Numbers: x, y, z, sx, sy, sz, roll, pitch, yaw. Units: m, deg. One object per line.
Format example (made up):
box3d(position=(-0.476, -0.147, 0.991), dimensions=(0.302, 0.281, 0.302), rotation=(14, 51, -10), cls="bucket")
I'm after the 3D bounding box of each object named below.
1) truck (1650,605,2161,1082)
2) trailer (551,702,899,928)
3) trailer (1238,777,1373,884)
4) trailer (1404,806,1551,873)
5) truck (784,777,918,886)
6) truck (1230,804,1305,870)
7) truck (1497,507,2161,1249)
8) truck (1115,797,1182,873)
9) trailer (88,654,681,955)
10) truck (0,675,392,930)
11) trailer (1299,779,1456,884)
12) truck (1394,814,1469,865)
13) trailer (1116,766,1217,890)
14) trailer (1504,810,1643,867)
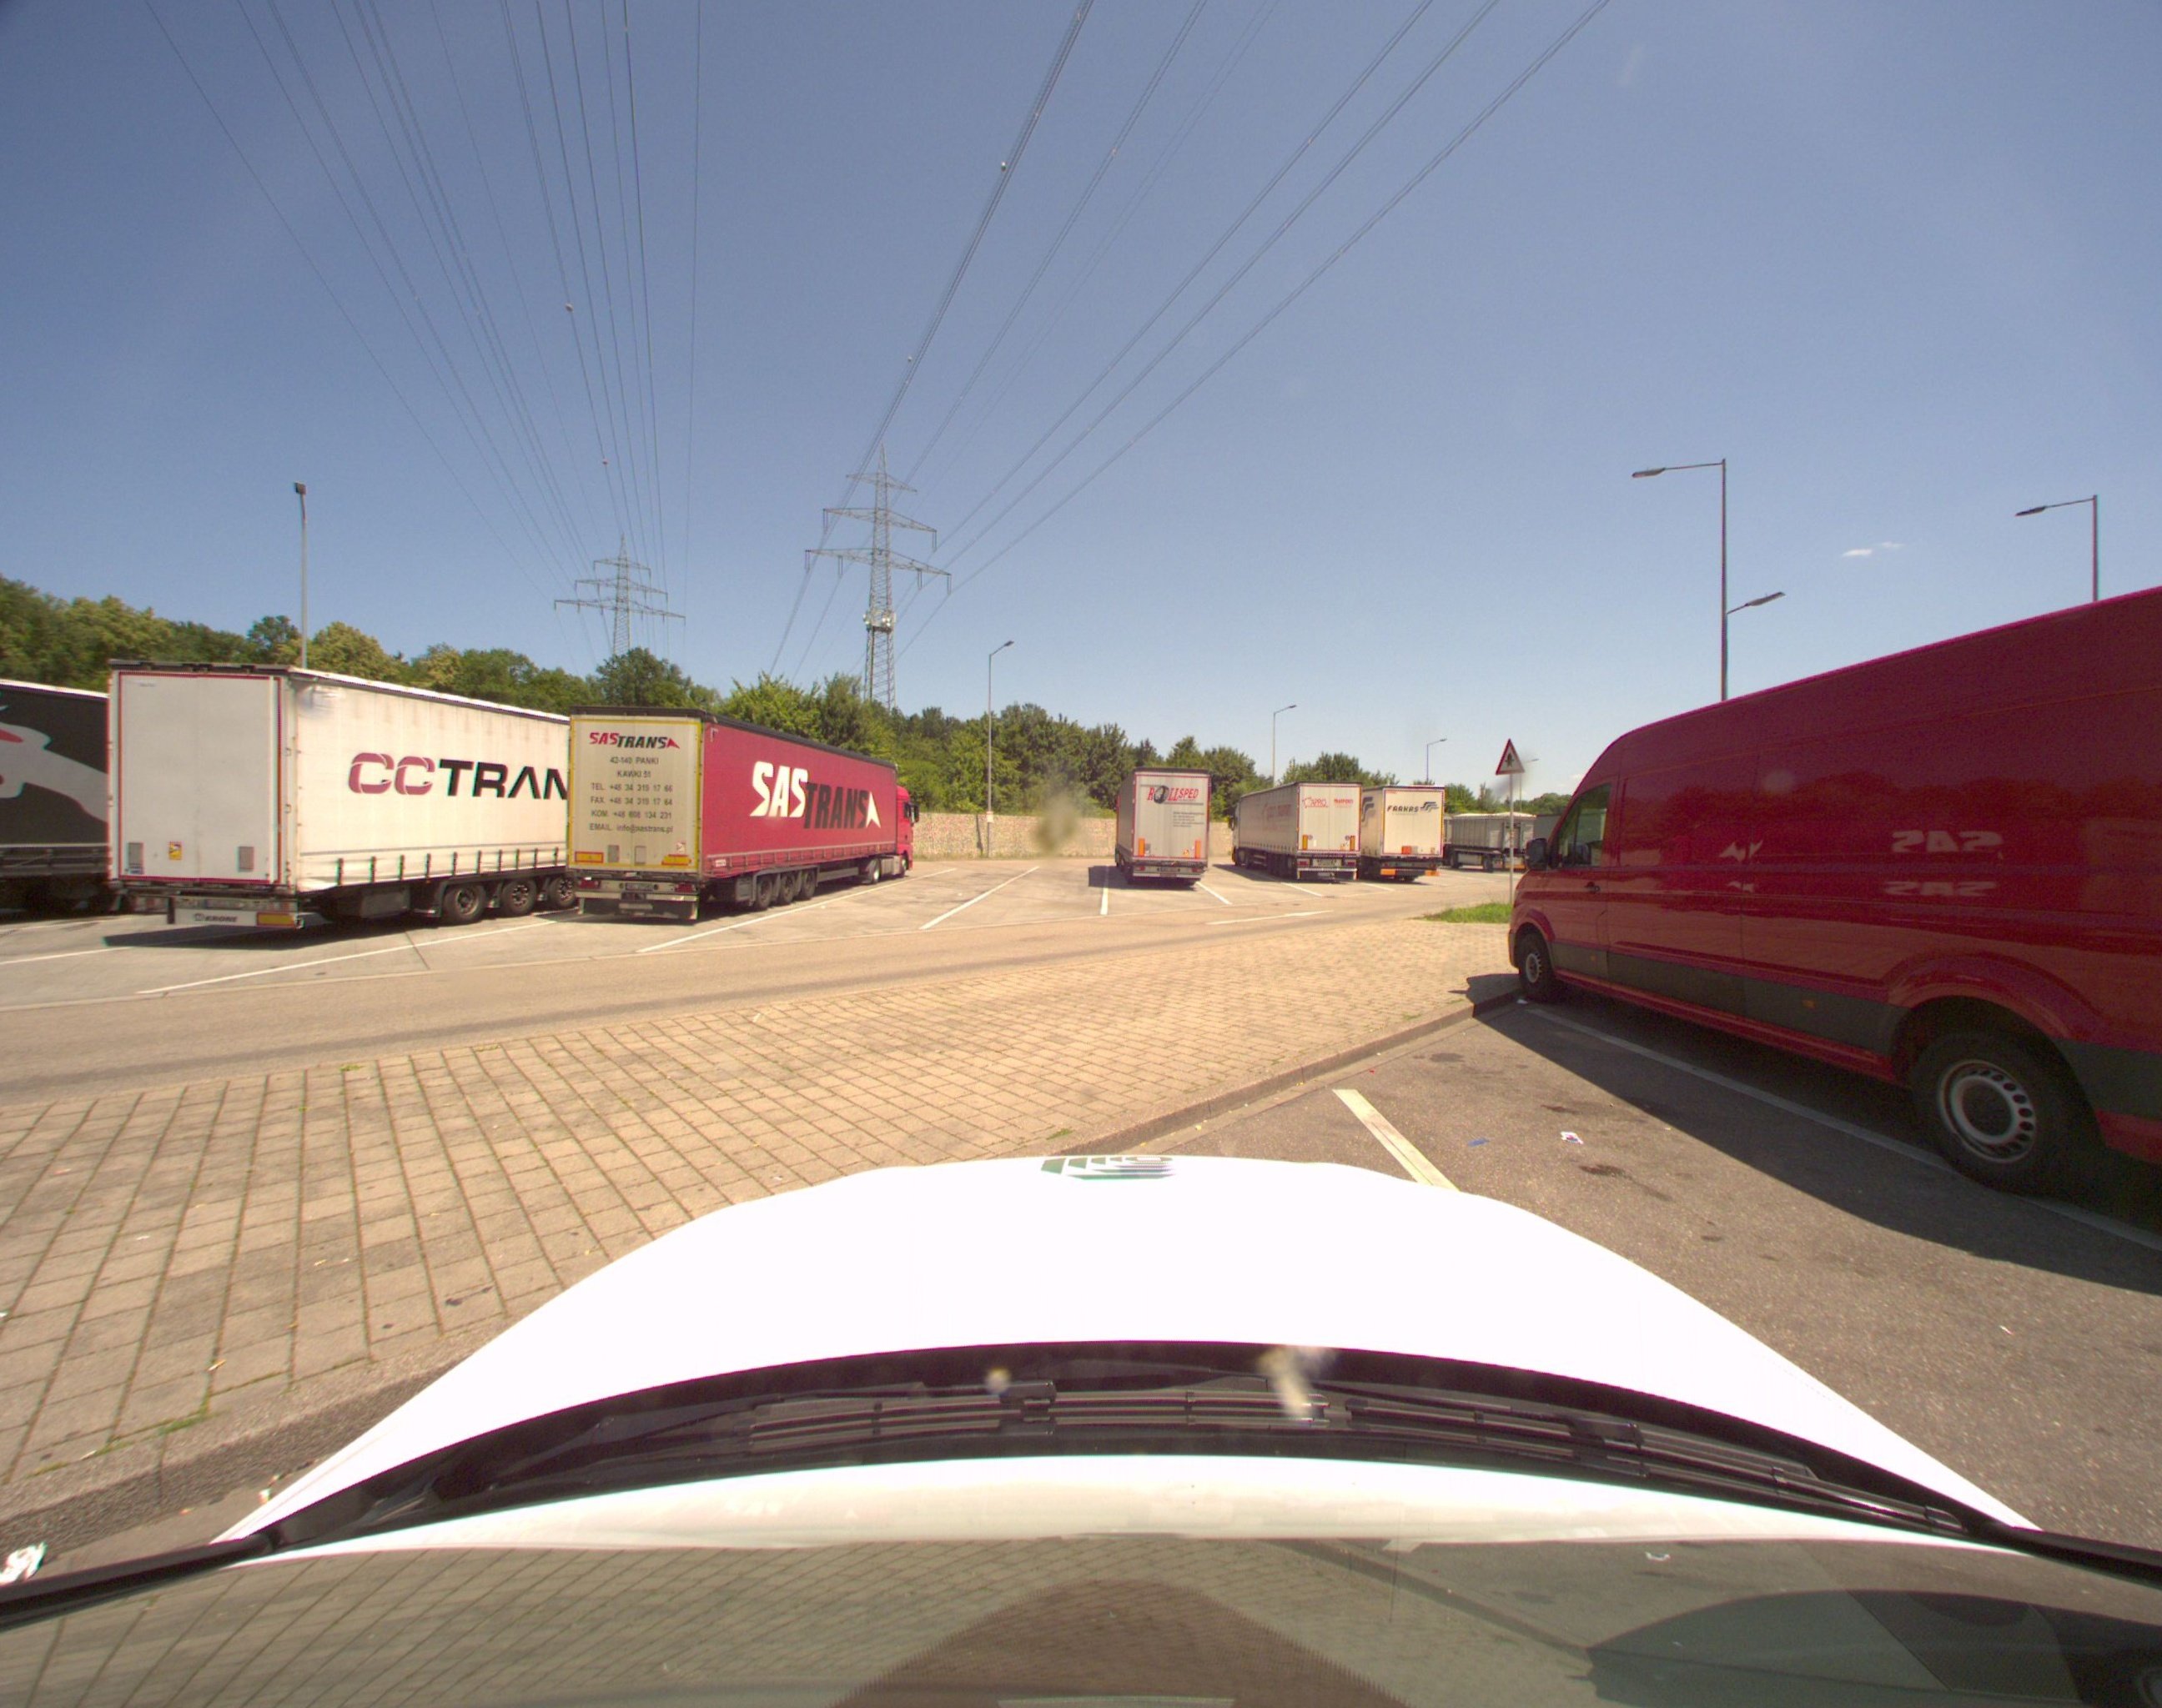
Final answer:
box3d(position=(8.001, -0.070, 6.884), dimensions=(2.406, 2.906, 6.466), rotation=(-1, 0, 6), cls="truck")
box3d(position=(-8.045, -0.927, 21.728), dimensions=(2.811, 4.070, 13.770), rotation=(1, 2, 2), cls="trailer")
box3d(position=(9.984, -1.124, 38.298), dimensions=(2.847, 4.109, 13.770), rotation=(1, 2, 2), cls="trailer")
box3d(position=(24.446, -1.001, 51.495), dimensions=(2.847, 3.599, 13.770), rotation=(1, 2, 2), cls="trailer")
box3d(position=(-7.830, -0.795, 28.545), dimensions=(2.801, 3.362, 5.977), rotation=(1, 2, 2), cls="truck")
box3d(position=(10.183, -0.982, 45.062), dimensions=(2.855, 3.362, 5.977), rotation=(1, 2, 2), cls="truck")
box3d(position=(5.141, 0.081, 5.452), dimensions=(2.001, 2.651, 6.466), rotation=(-1, 0, 6), cls="truck")
box3d(position=(3.143, -0.942, 39.411), dimensions=(2.855, 3.362, 5.977), rotation=(1, 2, 2), cls="truck")
box3d(position=(-12.160, -0.840, 16.424), dimensions=(2.696, 4.101, 10.395), rotation=(1, 2, 2), cls="trailer")
box3d(position=(-18.549, -0.937, 15.833), dimensions=(2.696, 4.070, 8.694), rotation=(1, 2, 2), cls="truck")
box3d(position=(13.612, -1.098, 39.222), dimensions=(2.847, 4.109, 13.770), rotation=(1, 2, 2), cls="trailer")
box3d(position=(24.633, -1.089, 57.592), dimensions=(2.855, 3.362, 5.977), rotation=(1, 2, 2), cls="truck")
box3d(position=(3.051, -1.051, 33.209), dimensions=(2.848, 3.971, 13.767), rotation=(1, 2, 1), cls="trailer")
box3d(position=(38.229, -1.305, 64.175), dimensions=(2.847, 3.904, 13.770), rotation=(1, 2, 2), cls="trailer")
